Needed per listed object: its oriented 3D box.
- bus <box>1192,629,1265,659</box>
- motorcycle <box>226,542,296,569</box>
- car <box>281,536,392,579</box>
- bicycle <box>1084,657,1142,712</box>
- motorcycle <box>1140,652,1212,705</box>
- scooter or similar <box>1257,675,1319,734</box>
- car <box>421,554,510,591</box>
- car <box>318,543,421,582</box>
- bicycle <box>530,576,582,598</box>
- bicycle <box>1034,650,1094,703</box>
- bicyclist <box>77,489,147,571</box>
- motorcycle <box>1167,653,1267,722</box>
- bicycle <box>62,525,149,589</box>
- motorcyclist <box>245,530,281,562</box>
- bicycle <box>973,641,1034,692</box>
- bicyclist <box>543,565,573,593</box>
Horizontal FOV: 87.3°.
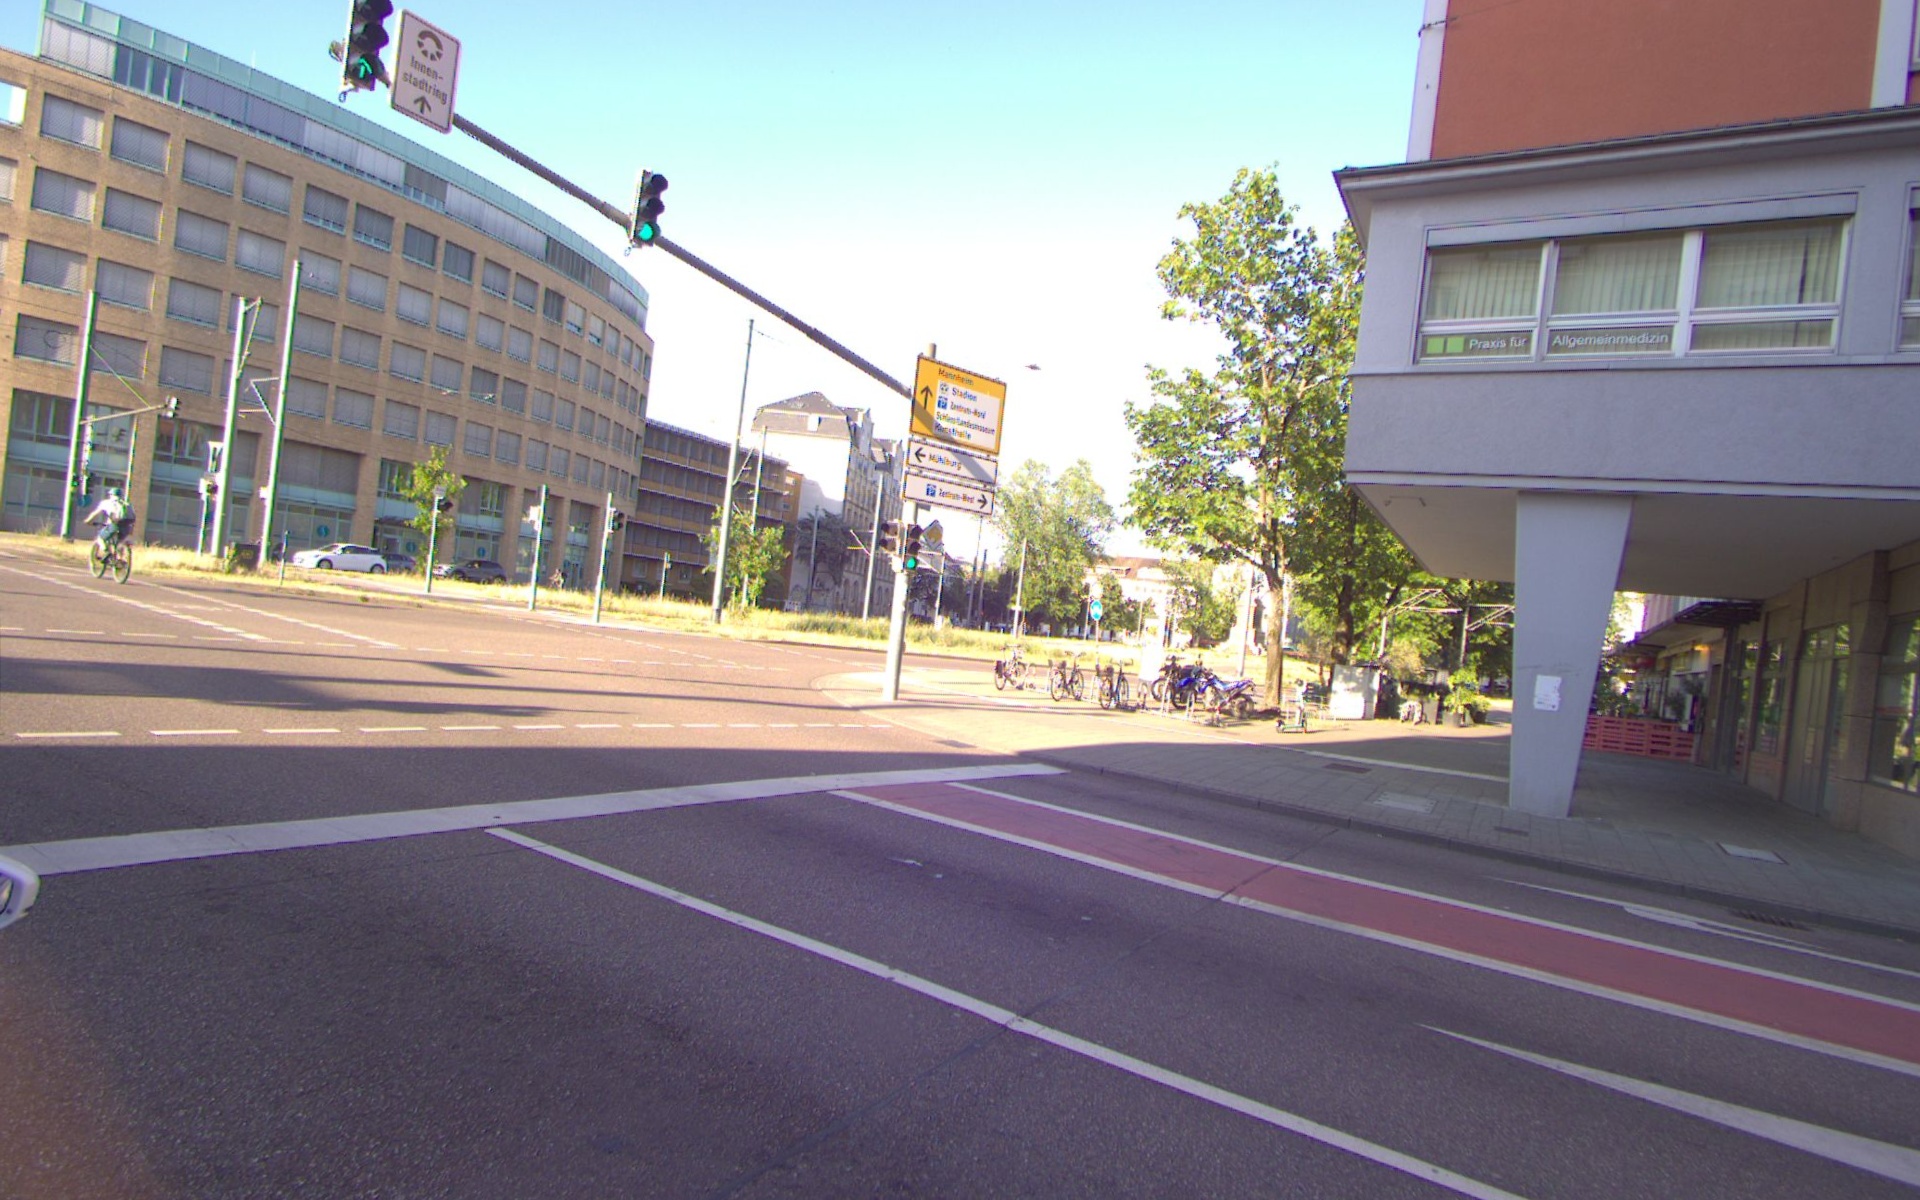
[{"bbox_3d":[40.342,6.619,150.881,10.957,3.248,2.401,7,-1,-19],"label":"bus"},{"bbox_3d":[-35.780,-2.273,51.540,1.014,0.975,2.722,6,-1,30],"label":"motorcycle"},{"bbox_3d":[-30.909,-2.076,50.017,1.961,1.509,4.171,6,-1,29],"label":"car"},{"bbox_3d":[3.567,1.936,23.335,0.583,1.129,2.058,7,1,28],"label":"bicycle"},{"bbox_3d":[6.061,2.204,28.119,2.044,1.324,0.879,7,-1,-44],"label":"motorcycle"},{"bbox_3d":[7.464,2.387,22.852,1.549,1.251,0.479,6,1,-40],"label":"scooter or similar"},{"bbox_3d":[-27.463,-1.526,55.989,1.790,1.509,4.059,6,-1,30],"label":"car"},{"bbox_3d":[-32.985,-2.059,56.305,1.953,1.555,4.488,6,-1,32],"label":"car"},{"bbox_3d":[-25.692,-0.815,64.067,1.134,1.012,2.966,6,-1,29],"label":"bicycle"},{"bbox_3d":[2.496,1.800,23.953,0.584,1.129,2.003,7,1,29],"label":"bicycle"},{"bbox_3d":[-15.732,-1.294,18.668,0.914,1.385,0.593,7,-1,32],"label":"bicyclist"},{"bbox_3d":[6.470,2.182,25.318,2.224,1.409,0.845,7,-1,19],"label":"motorcycle"},{"bbox_3d":[-15.923,-0.810,18.732,1.945,0.954,0.593,7,-2,32],"label":"bicycle"},{"bbox_3d":[-35.721,-2.748,51.552,1.014,1.453,1.067,6,0,31],"label":"motorcyclist"},{"bbox_3d":[1.104,1.623,24.776,0.584,1.129,1.974,7,1,29],"label":"bicycle"},{"bbox_3d":[-25.605,-1.351,64.102,1.134,1.591,1.225,6,0,30],"label":"bicyclist"}]
